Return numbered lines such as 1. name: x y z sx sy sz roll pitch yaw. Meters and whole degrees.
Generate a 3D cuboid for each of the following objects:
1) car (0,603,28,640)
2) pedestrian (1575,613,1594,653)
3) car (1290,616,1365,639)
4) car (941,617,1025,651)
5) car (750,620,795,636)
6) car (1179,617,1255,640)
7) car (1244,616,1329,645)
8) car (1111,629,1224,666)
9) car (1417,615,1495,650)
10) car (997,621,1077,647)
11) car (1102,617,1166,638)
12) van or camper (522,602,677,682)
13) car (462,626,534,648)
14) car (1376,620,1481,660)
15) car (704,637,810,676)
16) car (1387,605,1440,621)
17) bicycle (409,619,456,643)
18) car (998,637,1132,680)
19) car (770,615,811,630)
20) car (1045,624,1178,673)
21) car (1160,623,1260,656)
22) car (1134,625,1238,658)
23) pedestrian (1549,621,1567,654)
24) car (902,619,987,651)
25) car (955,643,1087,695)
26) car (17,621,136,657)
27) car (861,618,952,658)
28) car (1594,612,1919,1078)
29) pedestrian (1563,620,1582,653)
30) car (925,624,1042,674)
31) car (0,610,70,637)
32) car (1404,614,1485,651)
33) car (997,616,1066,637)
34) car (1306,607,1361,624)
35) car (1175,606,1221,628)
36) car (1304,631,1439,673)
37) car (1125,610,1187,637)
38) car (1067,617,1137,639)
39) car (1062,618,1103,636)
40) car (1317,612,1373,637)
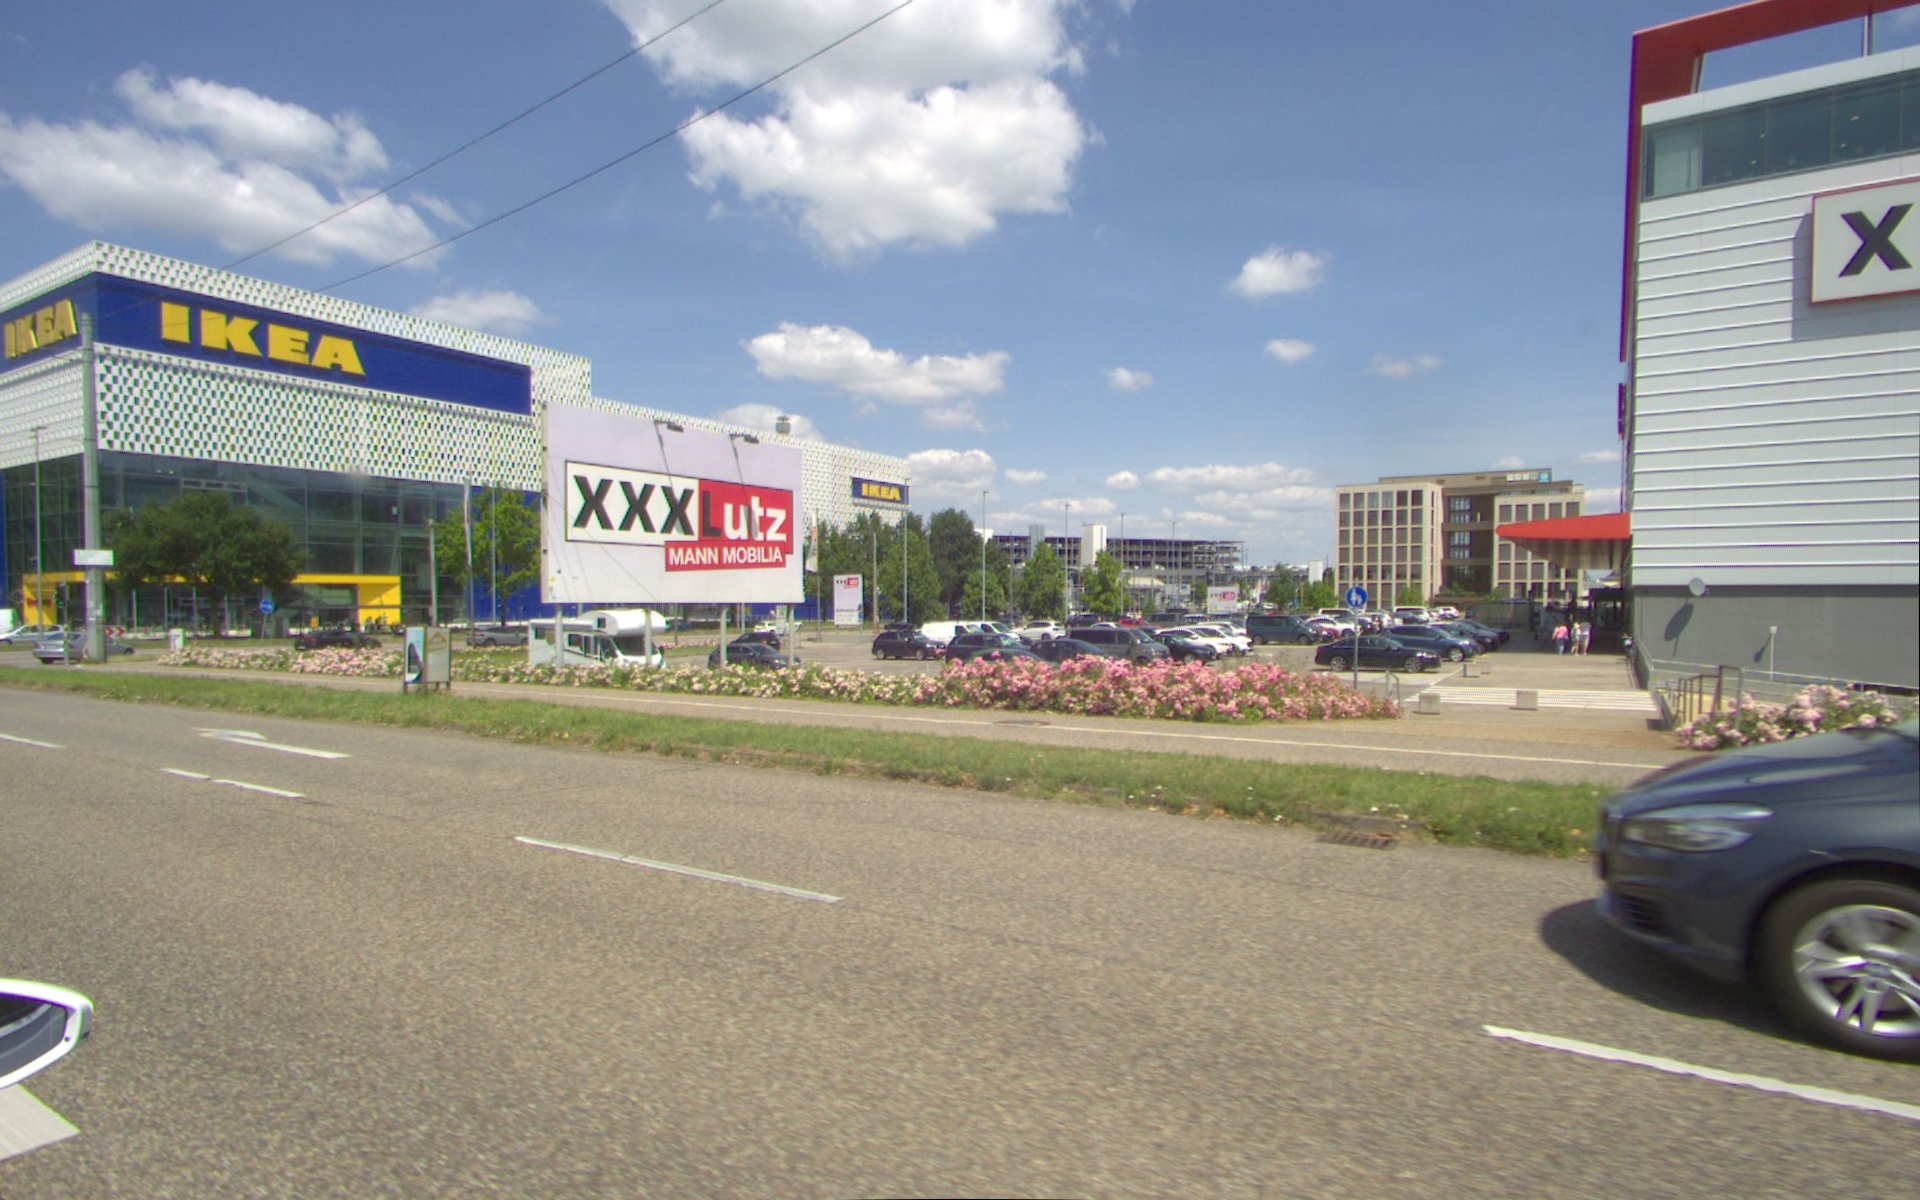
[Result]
1. car: -62.526 1.357 63.552 4.714 2.339 1.987 1 -1 -35
2. pedestrian: 30.058 1.598 48.220 0.725 1.893 0.739 0 -1 30
3. car: 27.404 2.031 74.737 4.929 1.631 1.990 0 -1 33
4. car: 1.415 2.086 62.658 4.929 2.033 1.990 0 -1 33
5. car: -18.552 2.794 99.300 1.970 1.505 4.371 0 -2 31
6. car: 18.560 2.039 72.319 4.929 1.631 1.990 0 -1 33
7. car: 21.663 1.995 66.549 5.106 1.889 1.991 0 -1 31
8. car: 9.895 2.216 47.865 4.929 1.631 1.990 0 -1 33
9. car: 29.138 1.892 58.862 3.943 2.040 1.990 -1 -1 32
10. car: 5.105 2.231 66.550 4.929 1.631 1.990 0 -1 33
11. car: 14.477 2.275 83.435 4.929 1.631 1.990 0 -1 33
12. van or camper: -15.006 1.680 41.392 7.129 3.059 2.499 -1 -1 36
13. car: -32.308 2.612 70.097 1.972 1.505 4.125 0 -2 33
14. car: 22.140 1.896 47.369 4.271 1.804 1.990 0 -2 33
15. car: -9.322 2.546 45.927 4.701 1.558 1.989 0 1 33
16. car: 48.757 1.385 107.679 4.929 1.631 1.990 0 -1 33
17. bicycle: -32.808 1.931 62.336 0.976 1.500 2.415 0 -1 37
18. car: 4.144 2.277 39.757 4.929 1.570 1.990 0 -1 33
19. car: -18.807 2.508 111.172 1.973 1.505 4.486 0 -2 36
20. car: 6.612 2.069 43.875 5.456 2.040 1.990 0 -1 33
21. car: 13.583 2.115 54.537 4.929 1.672 1.990 0 -1 33
22. car: 11.790 2.145 52.373 4.929 1.631 1.990 0 -1 33
23. pedestrian: 29.130 1.809 48.781 0.725 1.578 0.739 0 -1 30
24. car: -0.965 2.094 61.126 4.929 1.876 1.990 0 -1 33
25. car: 2.157 2.396 35.593 4.242 1.517 1.988 0 2 33
26. car: -39.558 1.752 44.974 1.962 1.505 4.166 1 -2 -7
27. car: -3.052 2.107 56.617 4.929 2.162 1.990 0 -1 33
28. car: 4.587 0.819 3.403 4.044 1.546 1.756 0 -1 35
29. pedestrian: 29.167 1.724 47.692 0.725 1.578 0.739 0 -1 30
30. car: 1.003 2.123 44.830 4.929 2.041 1.989 0 1 33
31. car: -54.437 1.349 57.594 1.973 1.505 4.486 0 -2 36
32. car: 27.482 1.811 56.821 3.943 2.040 1.990 0 -1 32
33. car: 5.478 2.027 77.227 4.921 1.631 1.993 0 -1 27
34. car: 38.250 1.578 102.535 4.929 1.631 1.990 0 -1 33
35. car: 23.085 1.674 97.096 3.943 2.040 1.990 -1 -1 32
36. car: 16.973 2.102 41.392 4.929 1.631 1.990 0 -1 33
37. car: 17.140 2.032 87.514 4.929 2.333 1.990 0 -1 33
38. car: 10.898 2.119 76.967 4.929 1.631 1.990 0 -1 33
39. car: 13.086 2.879 107.013 3.943 1.863 1.819 0 0 32
40. car: 31.125 1.976 80.984 3.943 2.040 1.990 -1 -1 32
